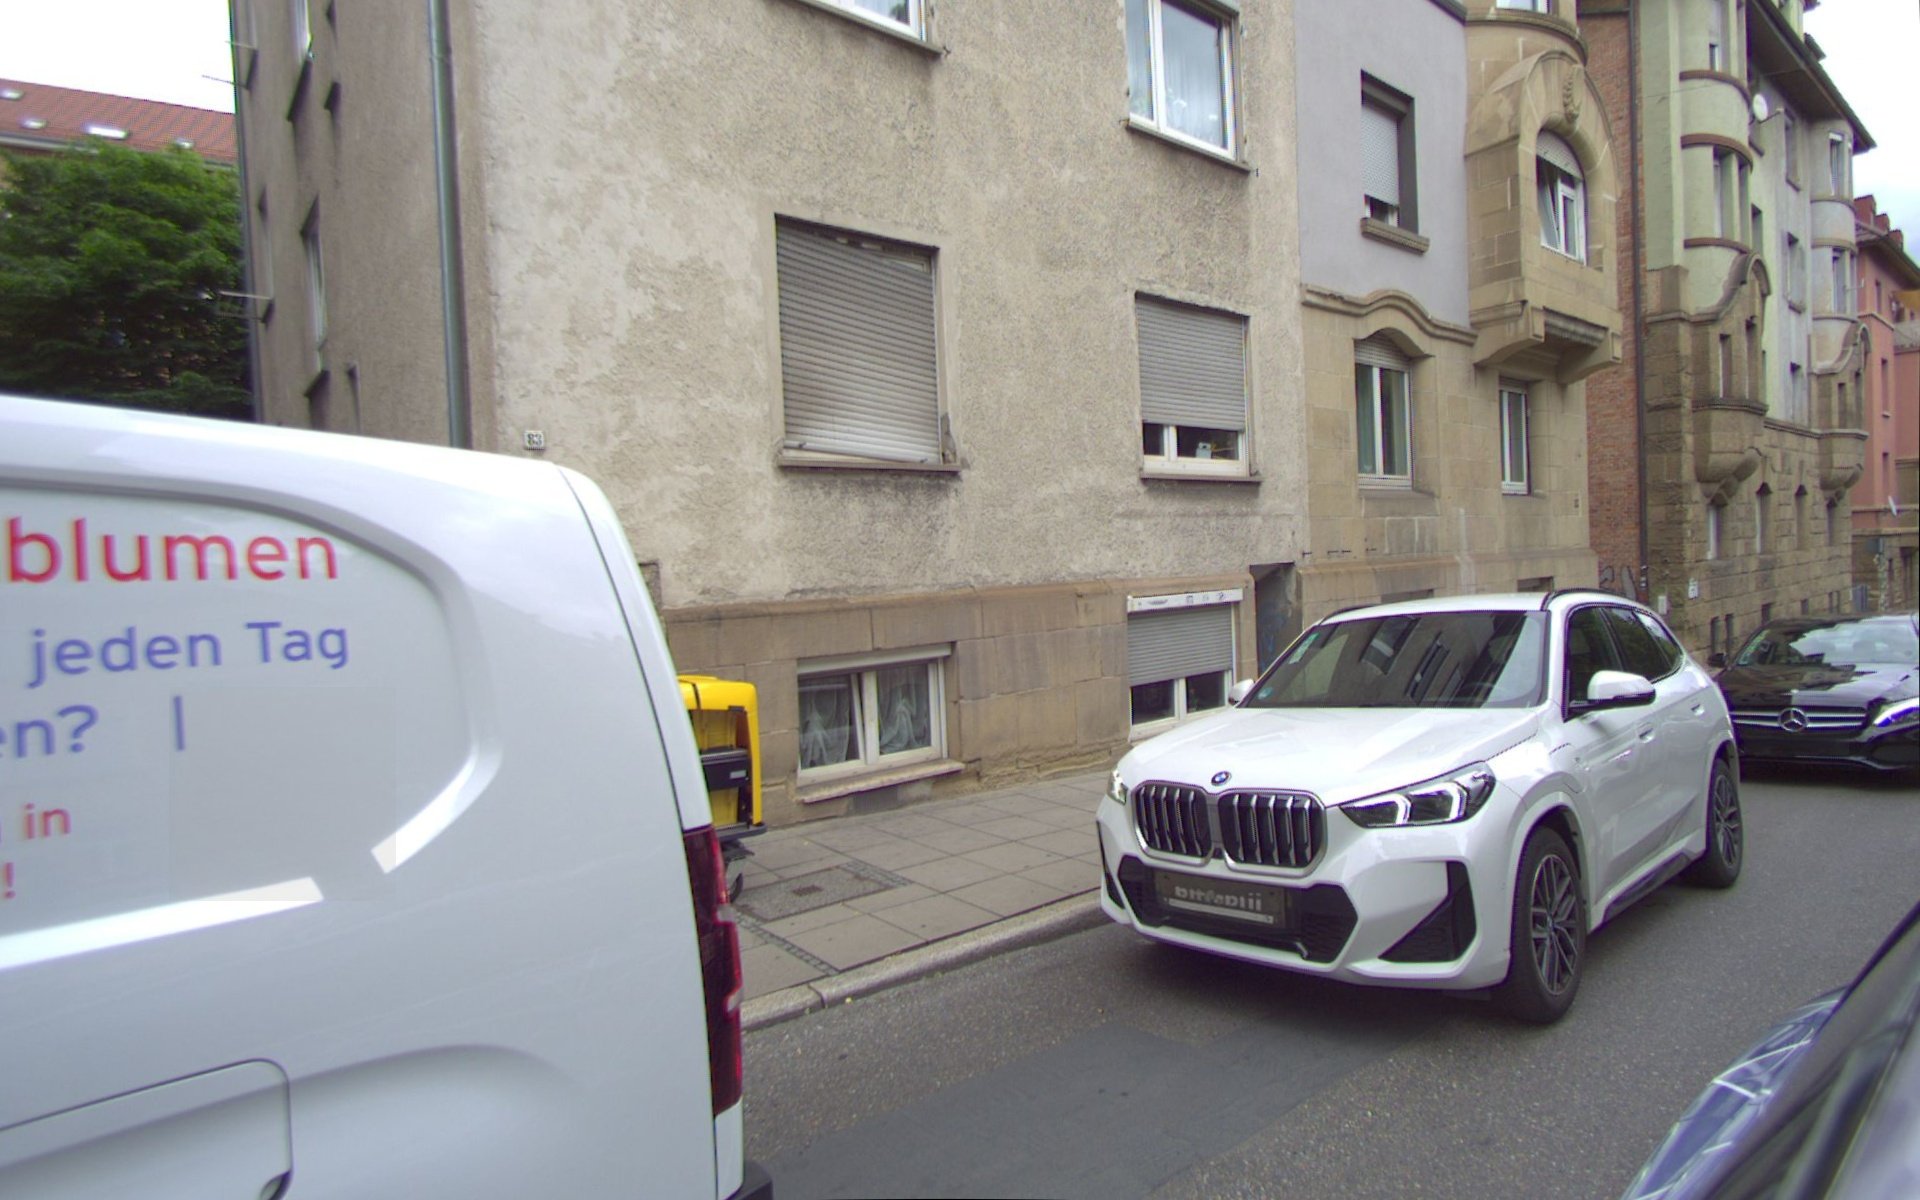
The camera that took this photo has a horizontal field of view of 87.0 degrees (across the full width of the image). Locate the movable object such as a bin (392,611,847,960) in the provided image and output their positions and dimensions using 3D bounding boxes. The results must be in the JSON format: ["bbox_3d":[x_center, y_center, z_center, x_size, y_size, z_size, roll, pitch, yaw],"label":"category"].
[{"bbox_3d":[-1.765,0.794,5.384,1.979,1.391,1.223,-1,2,-43],"label":"movable object such as a bin"}]

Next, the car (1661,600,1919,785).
[{"bbox_3d":[8.472,0.740,9.663,4.133,1.395,1.882,-1,-3,-41],"label":"car"}]

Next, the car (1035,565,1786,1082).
[{"bbox_3d":[2.580,0.720,5.233,4.276,1.576,1.857,-1,-4,-42],"label":"car"}]

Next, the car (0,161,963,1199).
[{"bbox_3d":[-2.363,0.556,0.856,4.597,1.798,1.977,-1,-3,-42],"label":"car"}]

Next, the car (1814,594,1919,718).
[{"bbox_3d":[13.519,0.669,13.905,4.226,1.534,1.935,-1,-3,-40],"label":"car"}]

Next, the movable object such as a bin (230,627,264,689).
[{"bbox_3d":[-10.982,0.886,15.595,0.405,0.923,0.340,0,0,-40],"label":"movable object such as a bin"}]

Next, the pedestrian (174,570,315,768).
[{"bbox_3d":[-6.589,0.594,9.327,0.808,1.666,0.773,0,6,42],"label":"pedestrian"}]
